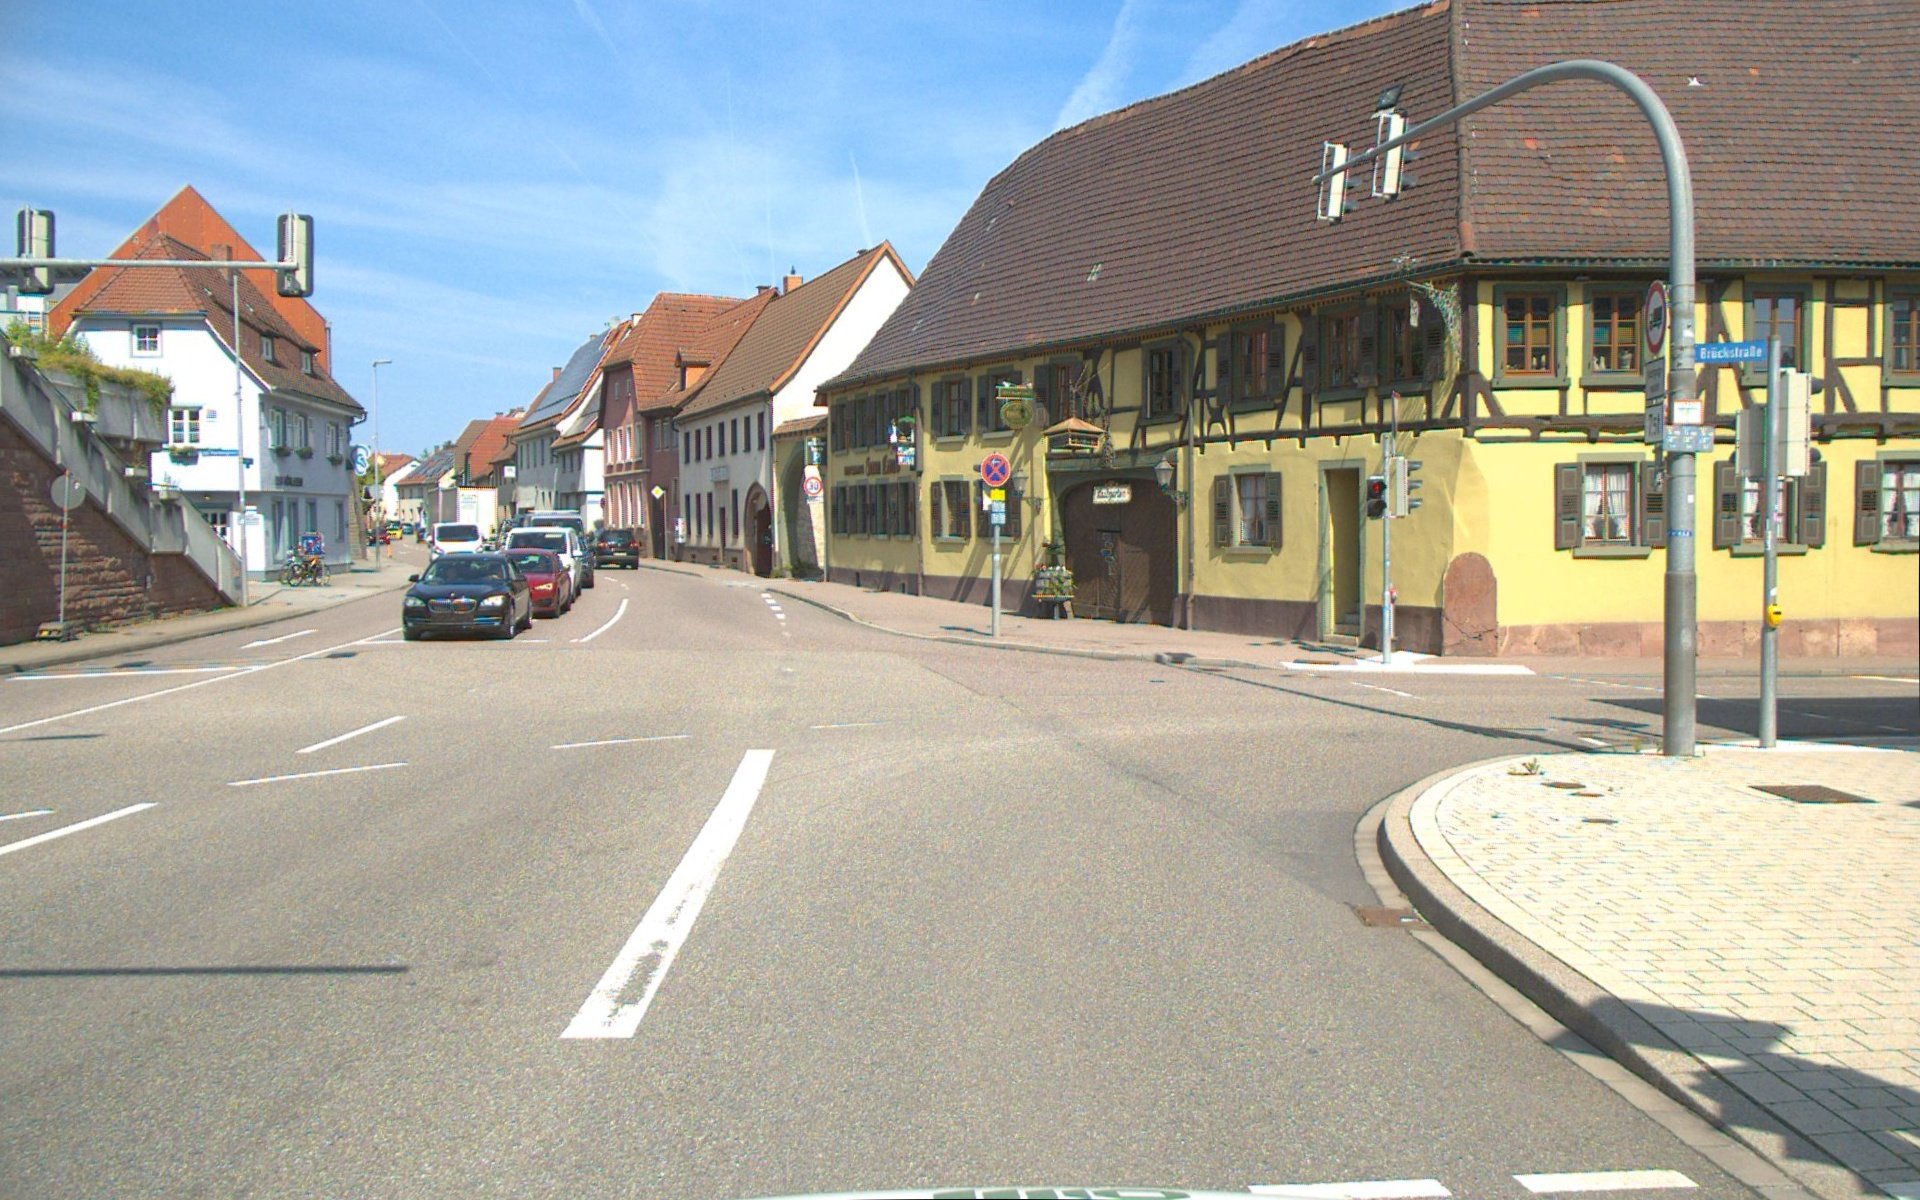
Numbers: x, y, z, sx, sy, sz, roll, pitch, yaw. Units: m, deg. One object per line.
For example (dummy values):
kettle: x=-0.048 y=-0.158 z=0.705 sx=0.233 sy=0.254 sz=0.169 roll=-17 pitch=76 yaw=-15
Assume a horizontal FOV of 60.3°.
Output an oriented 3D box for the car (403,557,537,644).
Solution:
car: x=-8.968 y=-0.052 z=30.575 sx=1.787 sy=1.459 sz=4.241 roll=0 pitch=2 yaw=-9

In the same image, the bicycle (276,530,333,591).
bicycle: x=-20.289 y=-1.234 z=51.275 sx=0.628 sy=1.810 sz=2.671 roll=2 pitch=1 yaw=1

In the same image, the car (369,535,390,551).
car: x=-50.619 y=-4.991 z=144.261 sx=1.235 sy=1.284 sz=2.806 roll=1 pitch=2 yaw=-29

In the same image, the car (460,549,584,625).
car: x=-9.841 y=-0.346 z=37.545 sx=2.118 sy=1.541 sz=4.940 roll=0 pitch=2 yaw=-8

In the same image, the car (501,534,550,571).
car: x=-18.853 y=-2.075 z=71.638 sx=1.758 sy=1.552 sz=3.985 roll=-2 pitch=2 yaw=-18

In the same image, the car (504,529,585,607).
car: x=-10.923 y=-0.899 z=43.751 sx=1.788 sy=1.939 sz=4.952 roll=0 pitch=3 yaw=-11

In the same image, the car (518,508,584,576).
car: x=-14.629 y=-2.058 z=58.964 sx=1.732 sy=2.285 sz=4.525 roll=1 pitch=2 yaw=-21

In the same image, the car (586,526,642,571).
car: x=-14.445 y=-2.160 z=68.892 sx=1.793 sy=1.769 sz=3.985 roll=-2 pitch=2 yaw=-18

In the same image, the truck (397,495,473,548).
truck: x=-37.762 y=-5.561 z=118.641 sx=3.125 sy=3.520 sz=10.611 roll=2 pitch=1 yaw=-29

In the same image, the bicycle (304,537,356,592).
bicycle: x=-19.370 y=-1.101 z=50.928 sx=0.546 sy=1.635 sz=2.563 roll=2 pitch=1 yaw=1

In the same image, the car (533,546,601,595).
car: x=-12.076 y=-0.922 z=50.693 sx=1.552 sy=1.408 sz=3.538 roll=1 pitch=2 yaw=-21

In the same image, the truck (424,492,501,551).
truck: x=-33.124 y=-5.196 z=109.860 sx=3.186 sy=3.610 sz=9.148 roll=1 pitch=2 yaw=-28

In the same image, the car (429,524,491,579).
car: x=-19.191 y=-1.873 z=63.303 sx=2.104 sy=2.001 sz=5.251 roll=-1 pitch=2 yaw=-18
